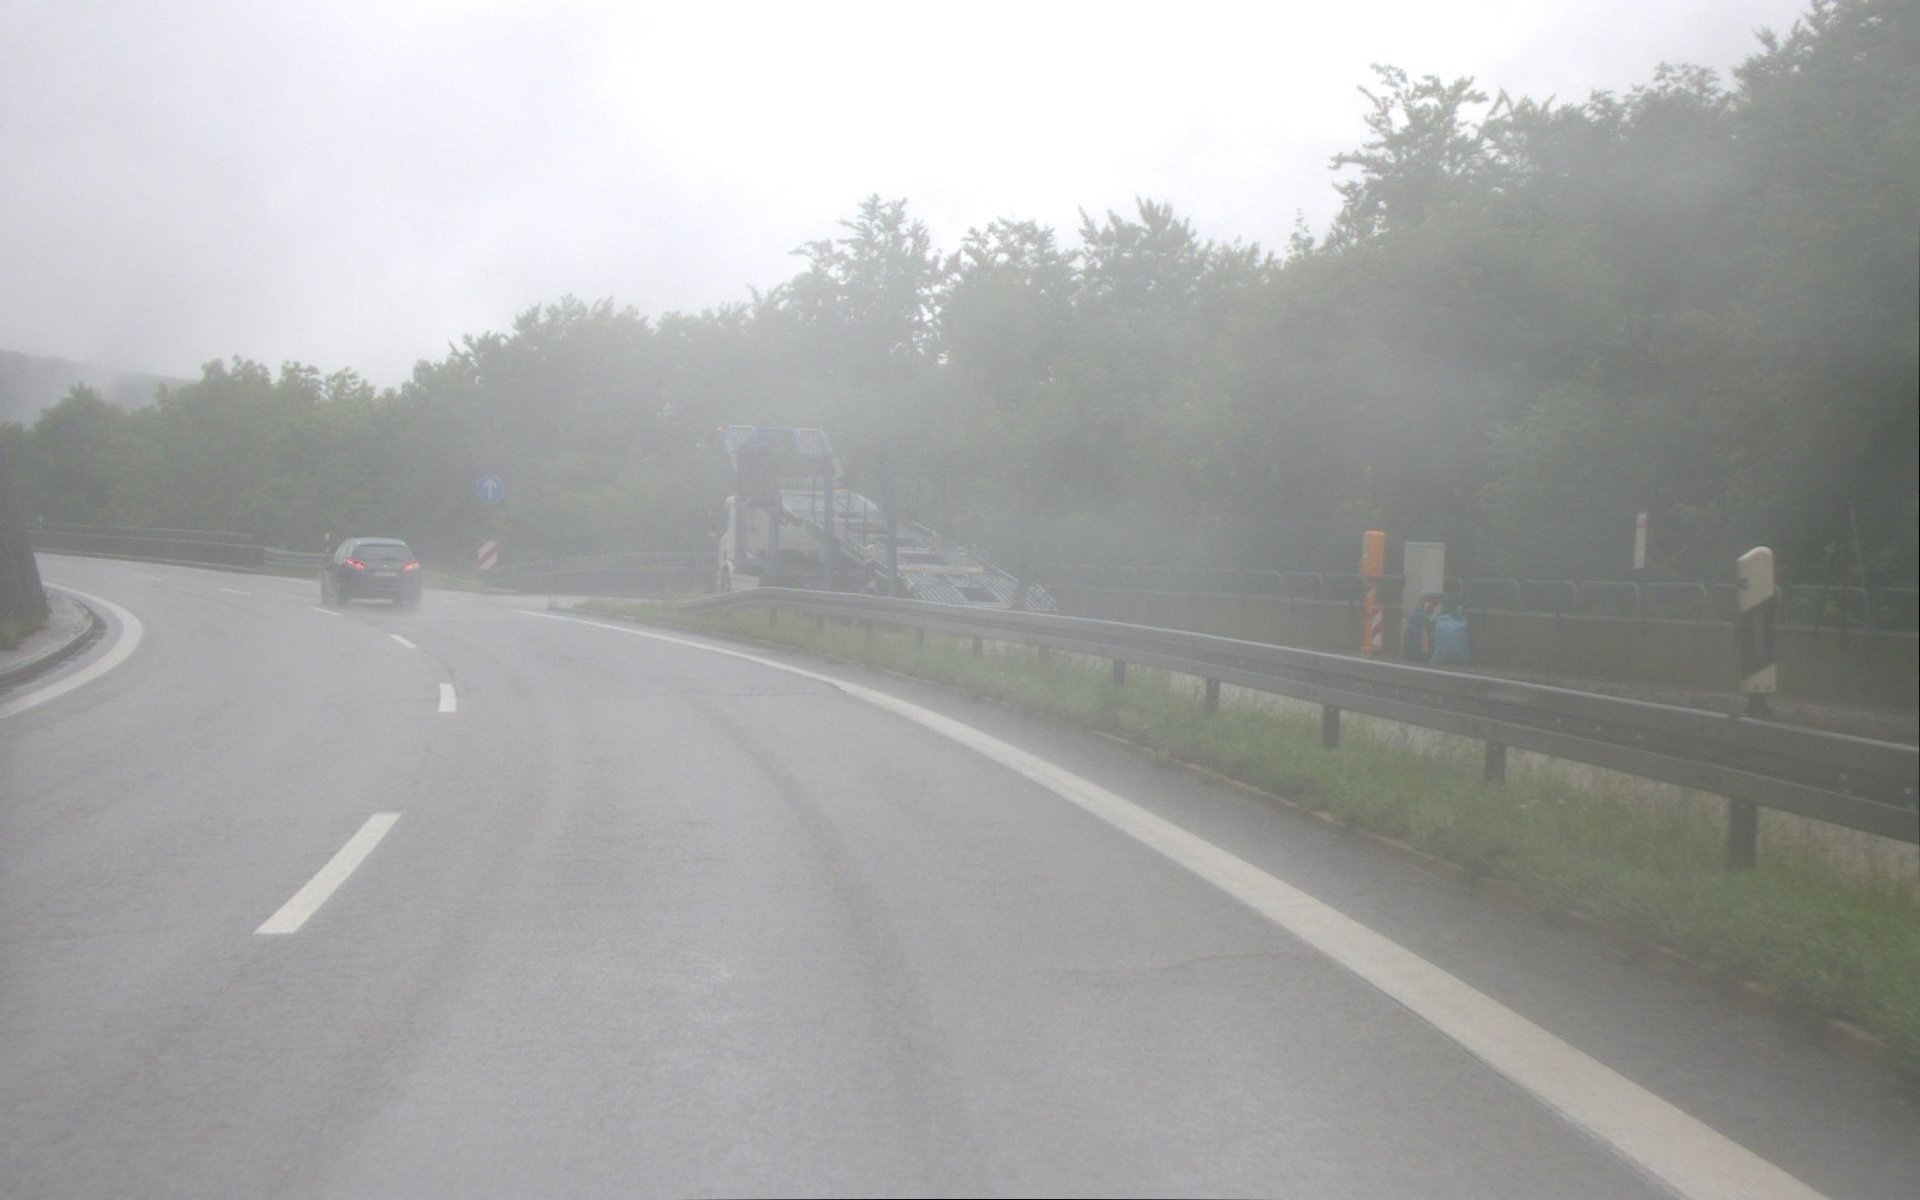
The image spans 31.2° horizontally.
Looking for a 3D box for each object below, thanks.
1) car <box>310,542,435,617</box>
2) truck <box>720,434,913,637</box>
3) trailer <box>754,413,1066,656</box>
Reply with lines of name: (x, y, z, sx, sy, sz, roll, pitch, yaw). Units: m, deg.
car: (-12.848, -0.461, 75.039, 1.903, 1.494, 4.001, 2, 1, -21)
truck: (-3.231, -1.397, 75.364, 2.895, 4.230, 6.883, 0, 1, -14)
trailer: (-1.291, -1.264, 67.454, 2.891, 4.230, 14.702, 0, 1, -14)
